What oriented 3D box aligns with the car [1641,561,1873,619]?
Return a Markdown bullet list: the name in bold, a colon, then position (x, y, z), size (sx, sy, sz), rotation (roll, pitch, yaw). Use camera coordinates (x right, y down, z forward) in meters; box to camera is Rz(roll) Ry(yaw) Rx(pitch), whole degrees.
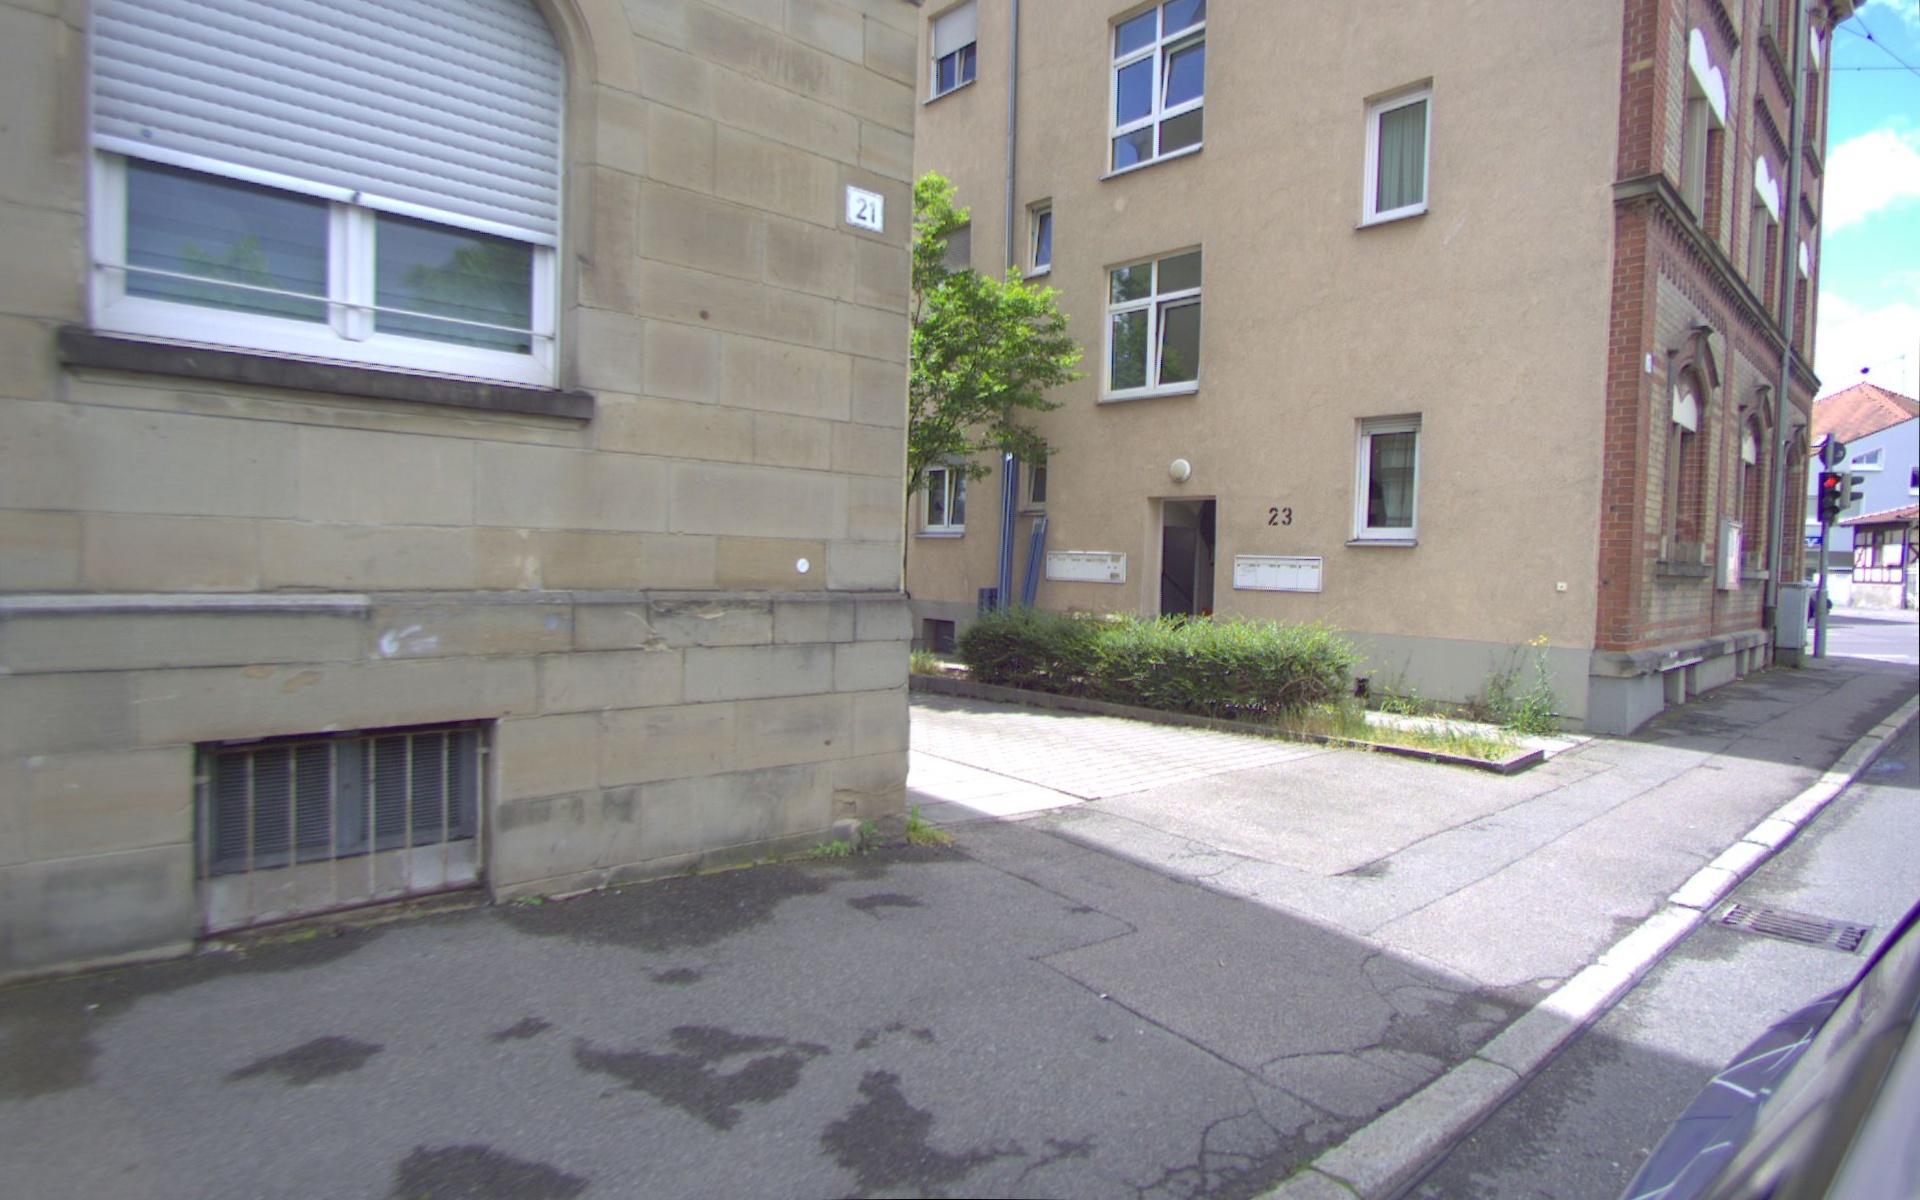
- **car**: position (23.482, -0.301, 30.096), size (5.042, 1.598, 1.984), rotation (0, 1, 24)
